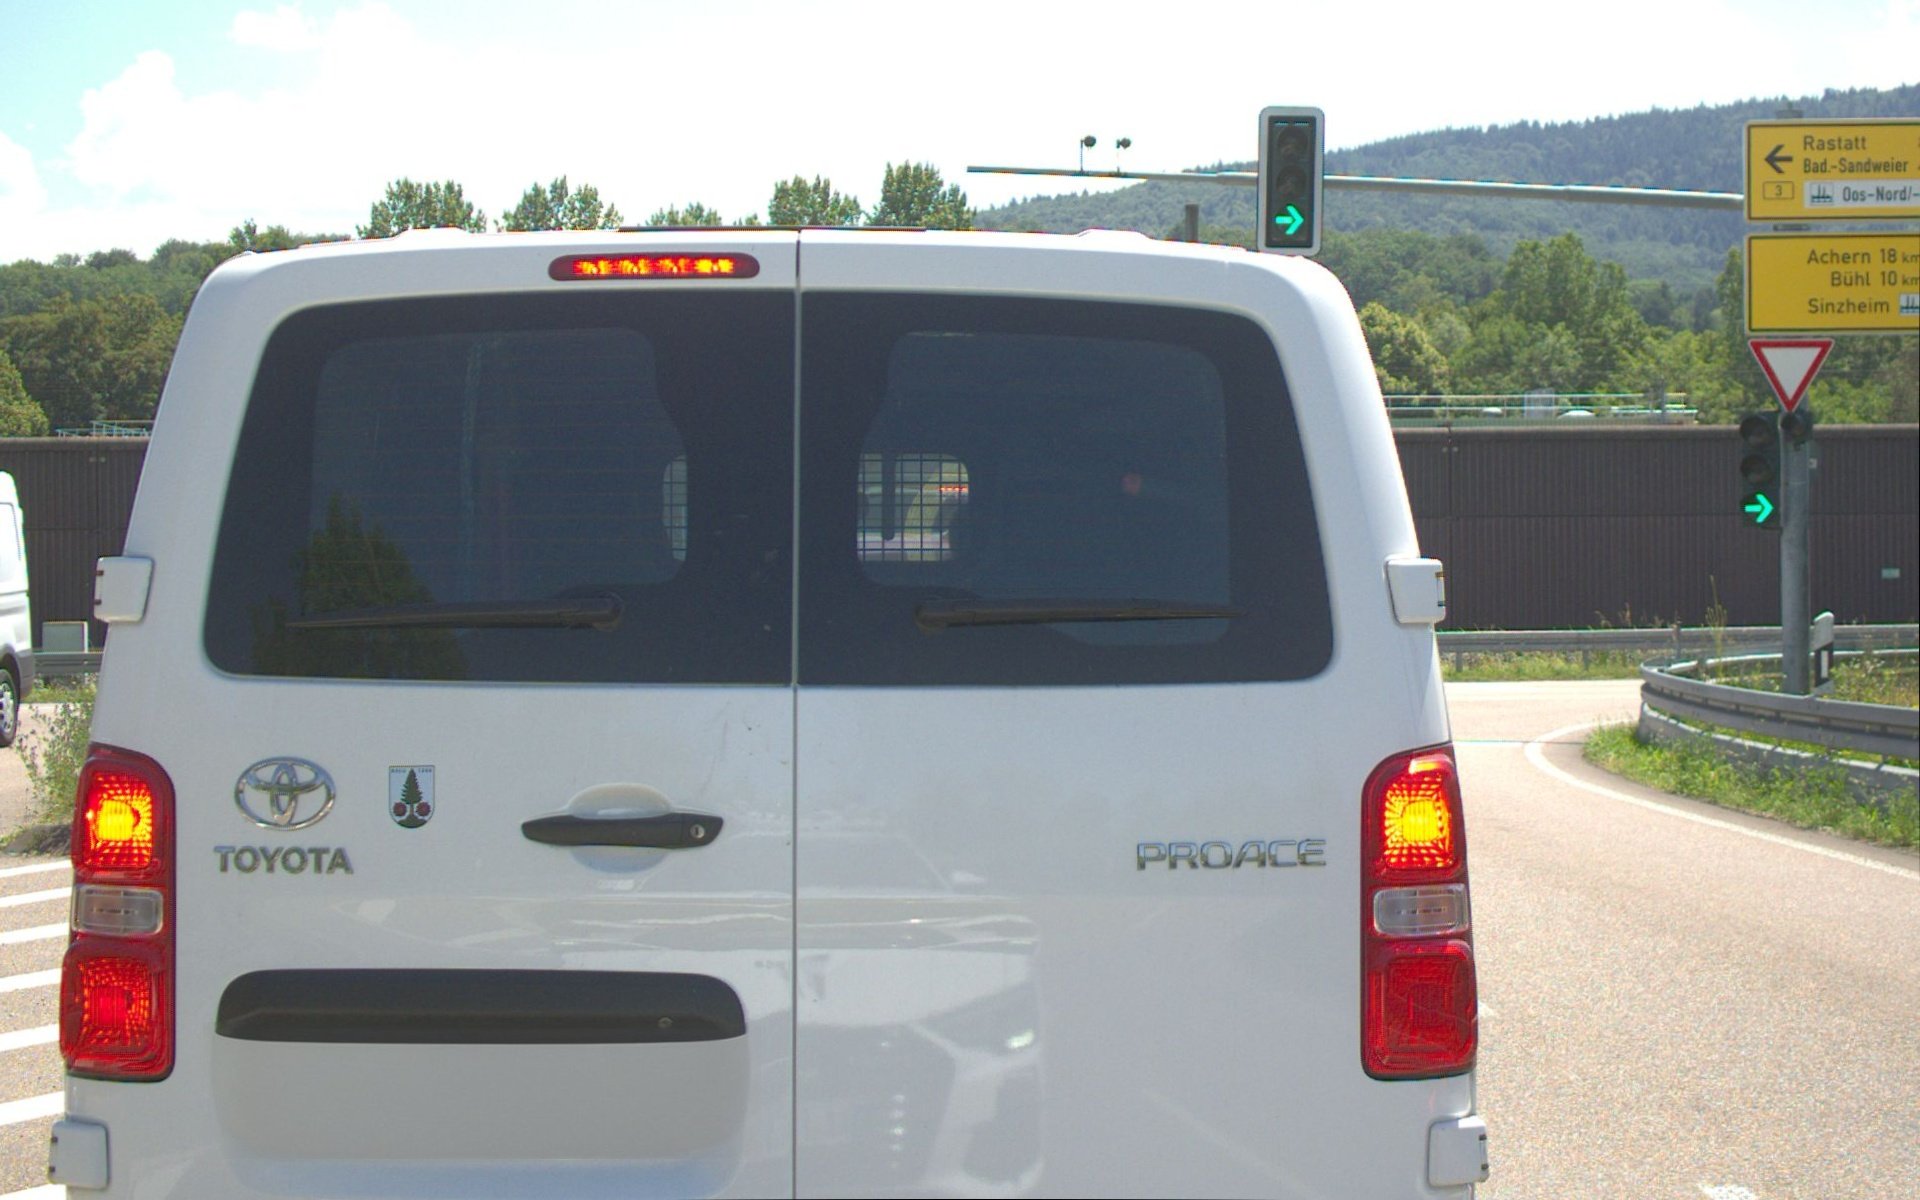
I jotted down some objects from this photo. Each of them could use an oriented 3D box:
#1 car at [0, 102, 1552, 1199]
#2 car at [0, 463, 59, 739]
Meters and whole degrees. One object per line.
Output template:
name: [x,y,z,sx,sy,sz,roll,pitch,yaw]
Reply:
car: [-0.262,0.424,5.902,1.814,2.011,4.000,0,1,-1]
car: [-9.428,0.059,28.896,1.993,2.408,5.590,-2,1,2]
